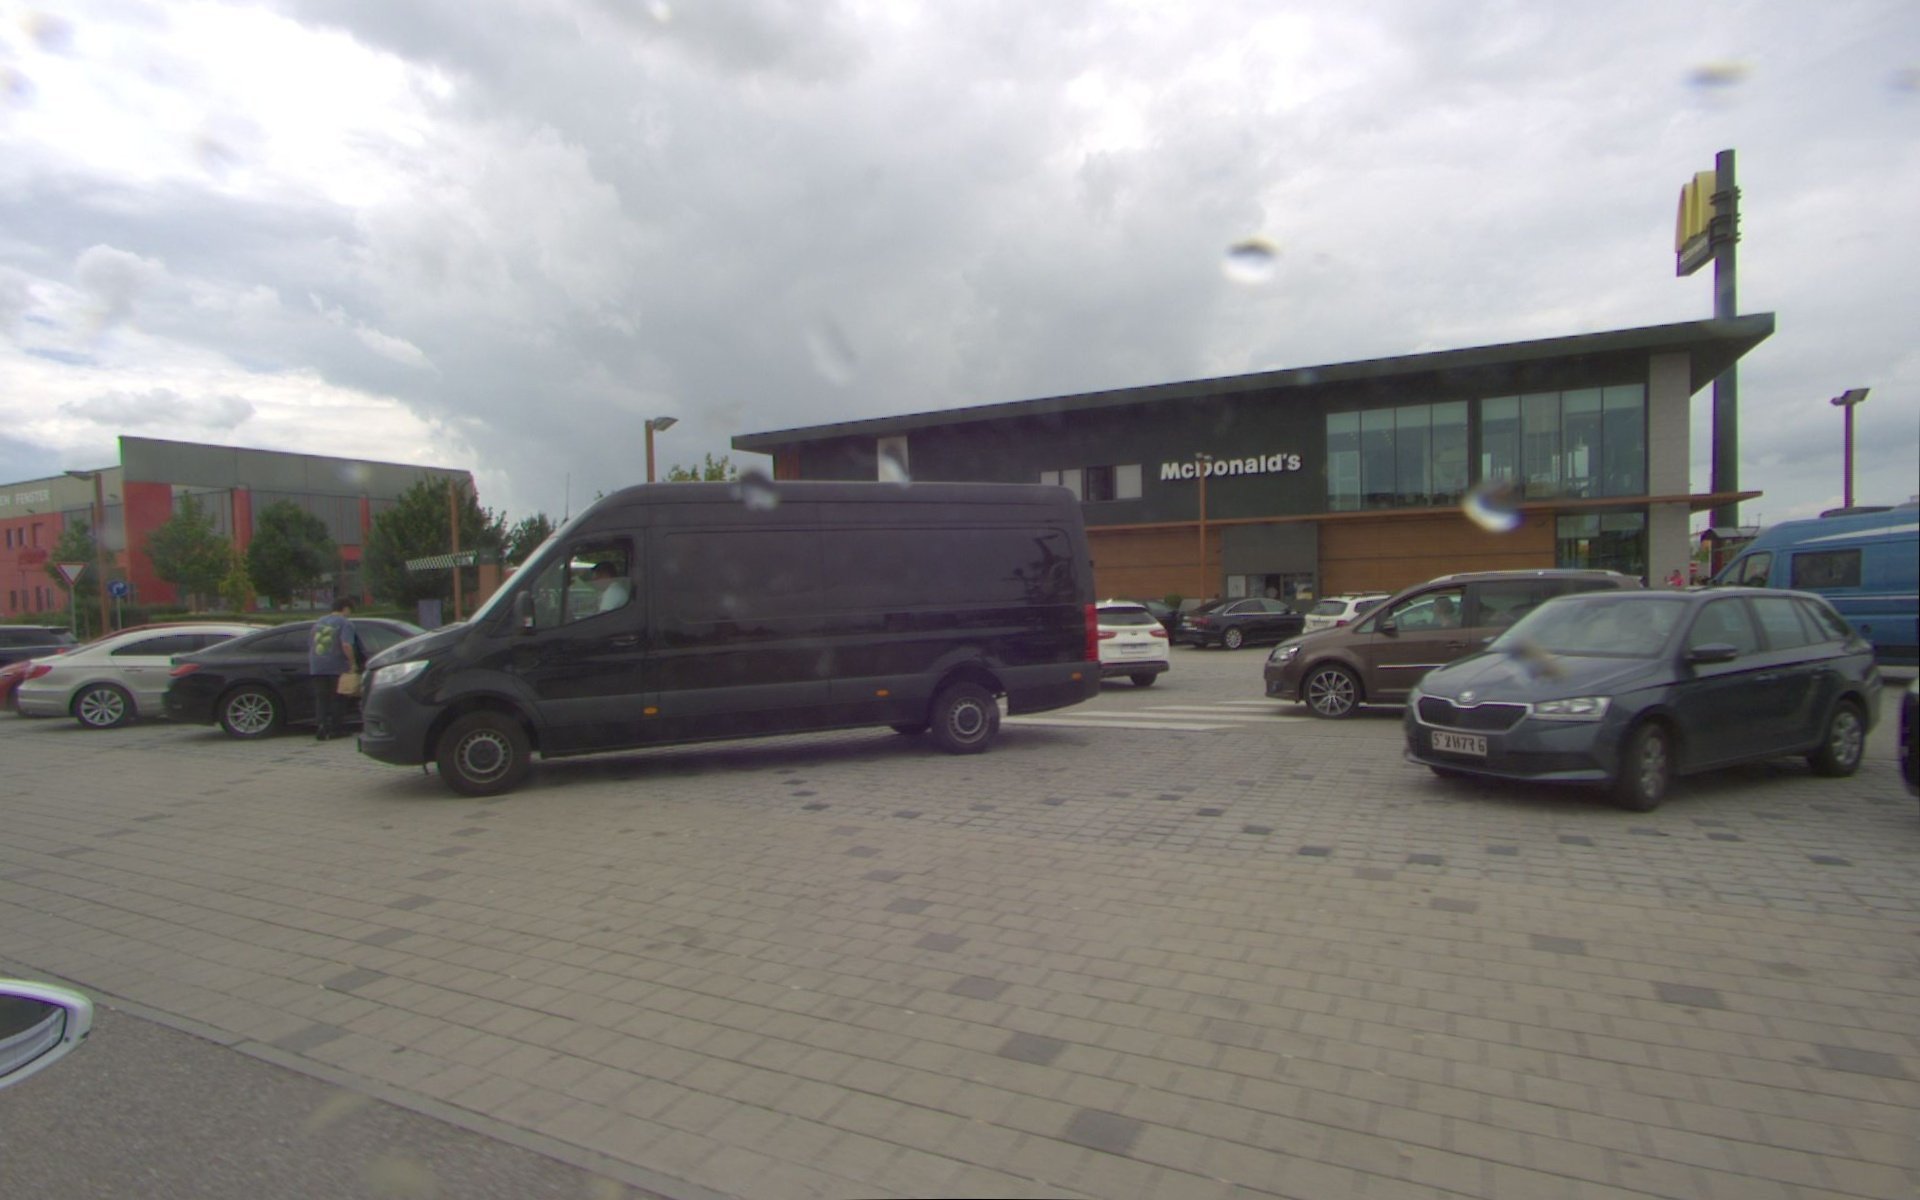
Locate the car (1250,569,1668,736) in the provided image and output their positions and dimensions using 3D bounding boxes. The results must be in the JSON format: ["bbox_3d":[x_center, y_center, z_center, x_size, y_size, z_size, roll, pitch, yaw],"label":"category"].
[{"bbox_3d":[5.696,0.498,11.915,4.120,1.713,1.805,1,2,24],"label":"car"}]

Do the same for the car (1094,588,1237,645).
[{"bbox_3d":[6.436,0.481,31.444,4.020,1.595,1.833,-2,1,-18],"label":"car"}]

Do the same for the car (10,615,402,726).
[{"bbox_3d":[-11.070,0.974,15.129,4.385,1.431,1.748,-1,0,-22],"label":"car"}]

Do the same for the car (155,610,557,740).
[{"bbox_3d":[-7.788,0.904,13.431,4.332,1.482,1.683,-1,0,-21],"label":"car"}]

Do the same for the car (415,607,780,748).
[{"bbox_3d":[-4.338,0.850,12.317,3.933,1.470,1.682,-1,0,-22],"label":"car"}]

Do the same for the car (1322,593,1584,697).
[{"bbox_3d":[7.830,0.656,16.255,1.811,1.473,3.564,-1,0,-21],"label":"car"}]

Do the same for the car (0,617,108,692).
[{"bbox_3d":[-19.675,1.094,19.851,3.867,1.431,1.681,-1,0,-24],"label":"car"}]

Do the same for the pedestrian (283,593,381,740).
[{"bbox_3d":[-7.615,0.785,12.184,0.828,1.699,0.748,-1,0,-19],"label":"pedestrian"}]

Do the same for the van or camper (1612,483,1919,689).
[{"bbox_3d":[13.472,-0.167,14.923,2.133,2.736,6.565,-1,-1,-14],"label":"van or camper"}]

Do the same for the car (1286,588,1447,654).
[{"bbox_3d":[11.242,0.533,27.722,3.930,1.507,1.785,-3,3,-19],"label":"car"}]

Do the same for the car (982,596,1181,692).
[{"bbox_3d":[2.024,0.695,17.929,1.751,1.486,4.098,-1,0,-22],"label":"car"}]

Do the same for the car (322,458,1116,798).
[{"bbox_3d":[-1.998,0.195,9.856,6.896,2.587,2.067,-1,0,-22],"label":"car"}]

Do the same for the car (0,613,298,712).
[{"bbox_3d":[-13.717,0.992,16.921,3.933,1.483,1.682,-1,0,-22],"label":"car"}]

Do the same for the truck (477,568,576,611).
[{"bbox_3d":[-48.402,-1.222,111.750,11.814,4.561,3.749,1,2,30],"label":"truck"}]

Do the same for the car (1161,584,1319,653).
[{"bbox_3d":[8.232,0.486,29.398,4.188,1.685,1.891,-3,3,-23],"label":"car"}]

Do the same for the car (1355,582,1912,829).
[{"bbox_3d":[5.180,0.632,7.681,3.937,1.430,1.825,-1,0,-26],"label":"car"}]

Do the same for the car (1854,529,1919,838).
[{"bbox_3d":[7.912,0.452,5.888,4.814,1.751,1.994,-1,1,-21],"label":"car"}]
